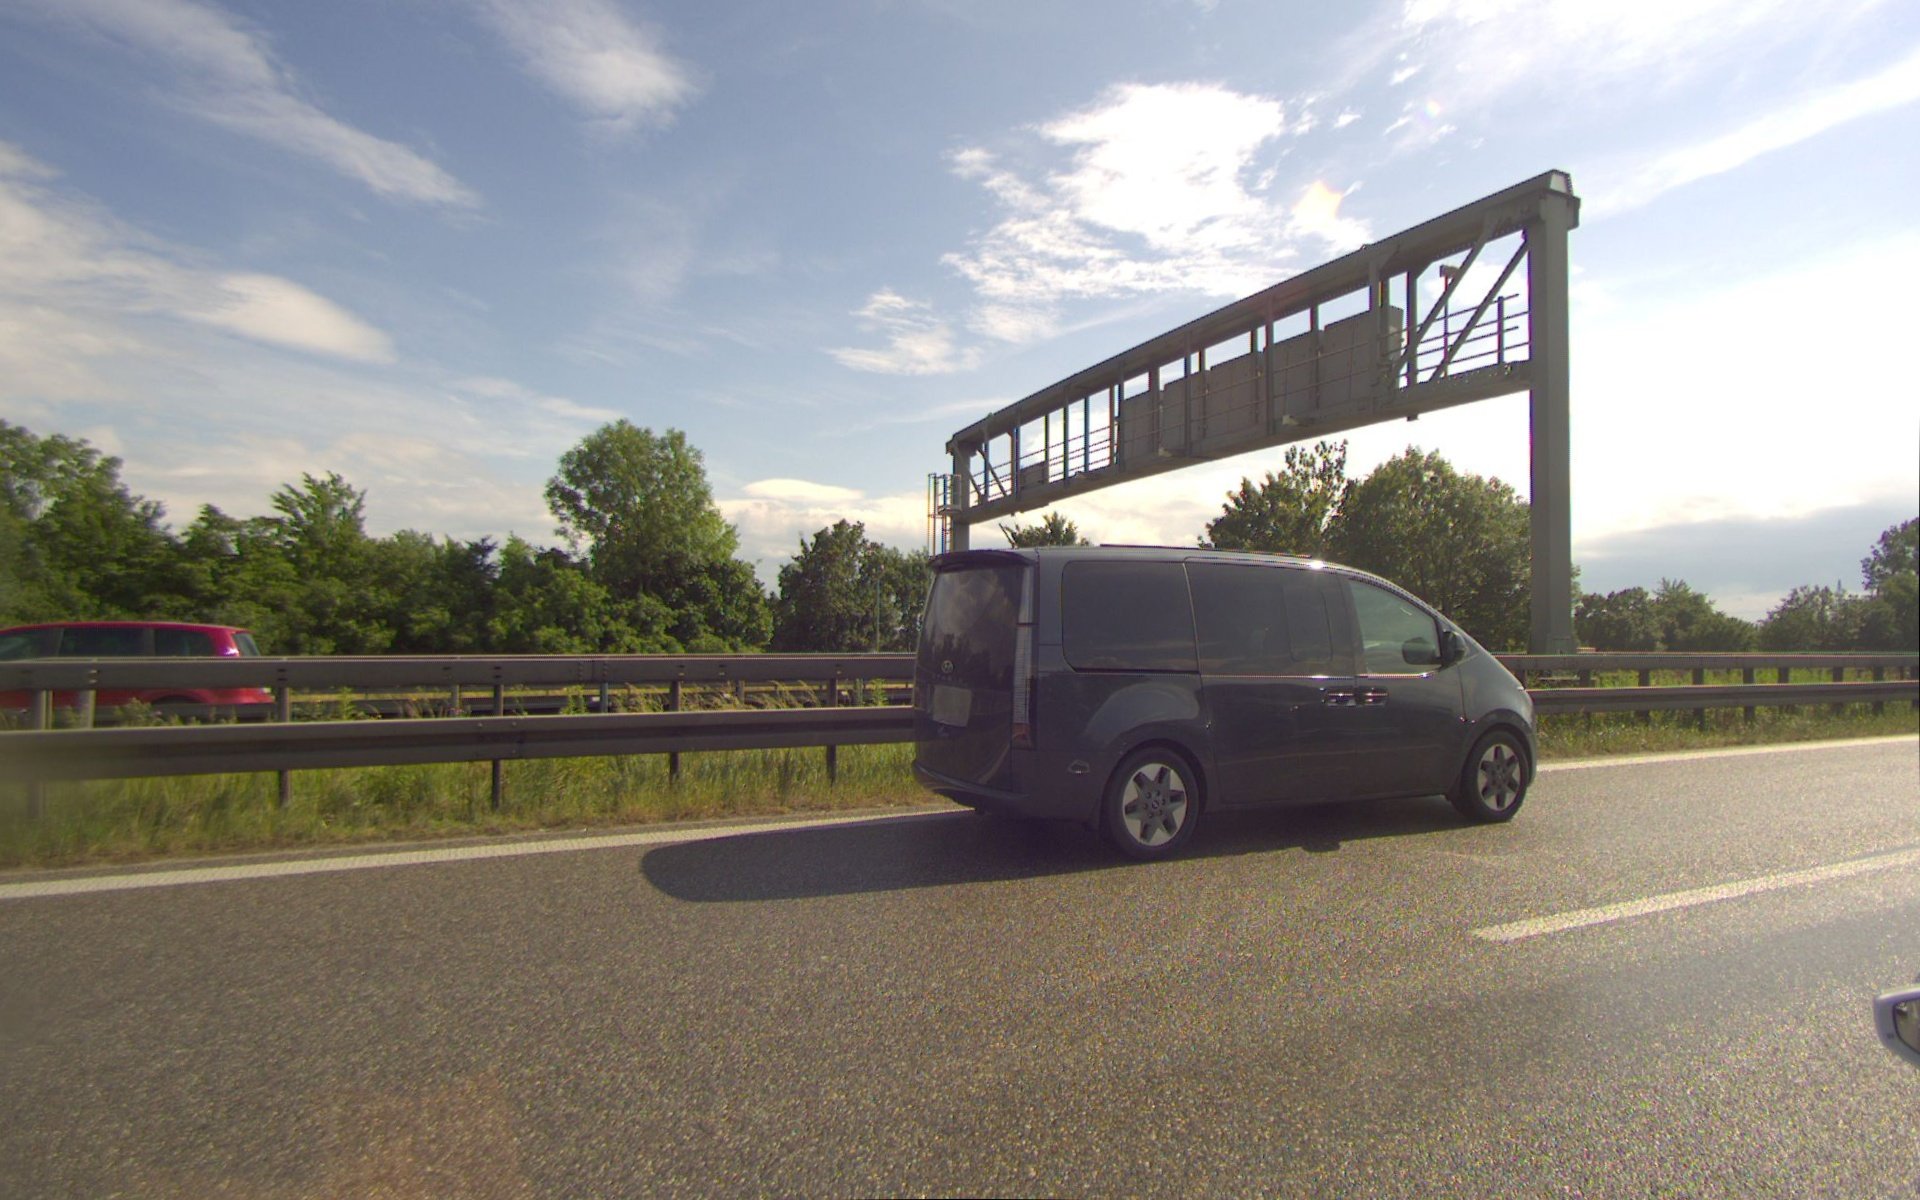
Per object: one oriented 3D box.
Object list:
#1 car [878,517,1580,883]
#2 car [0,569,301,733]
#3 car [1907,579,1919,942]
[{"bbox_3d":[2.158,0.625,7.676,5.201,2.040,1.987,1,-1,-27],"label":"car"},{"bbox_3d":[-11.867,0.656,13.670,4.593,2.040,1.986,1,-1,-27],"label":"car"},{"bbox_3d":[6.825,0.790,4.770,4.347,1.683,1.987,2,-1,-26],"label":"car"}]
